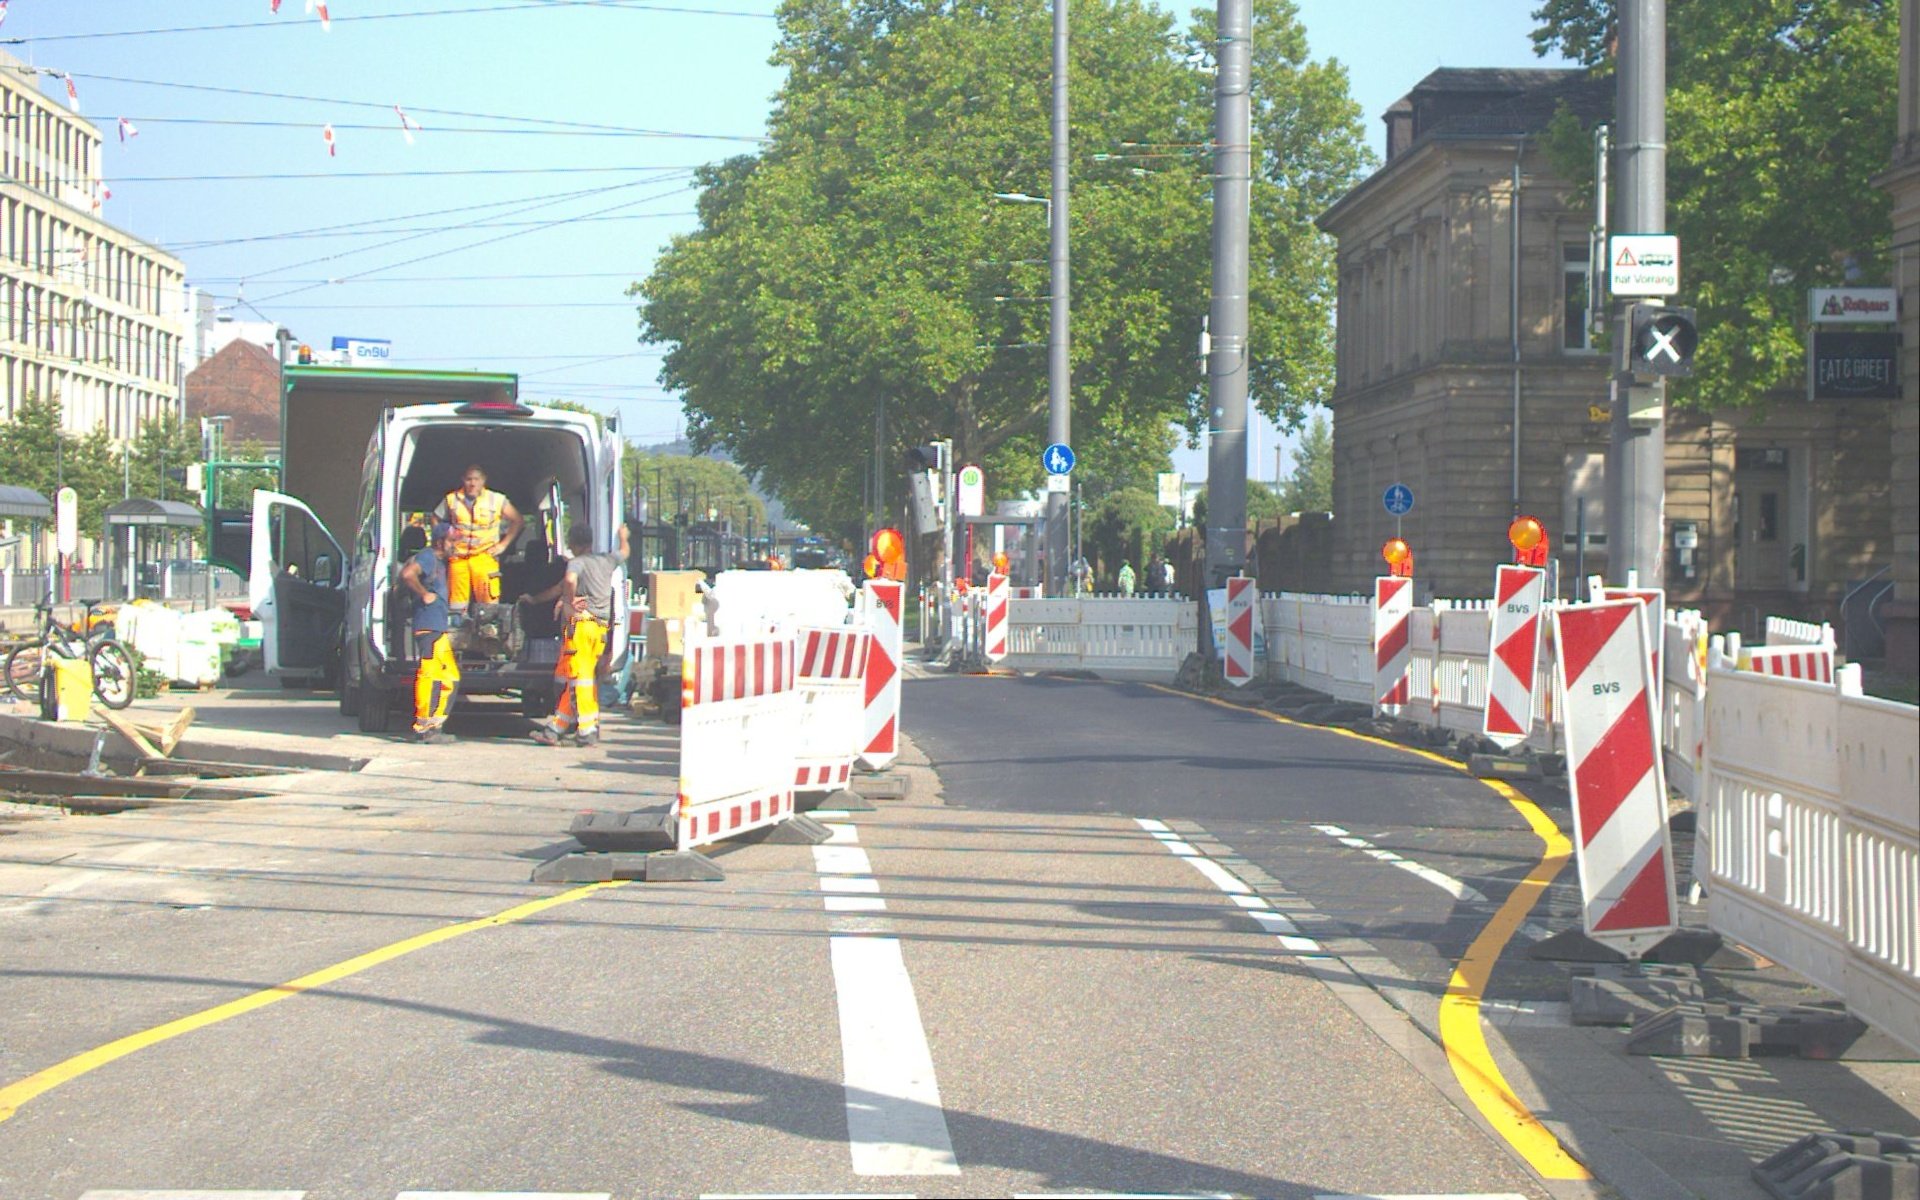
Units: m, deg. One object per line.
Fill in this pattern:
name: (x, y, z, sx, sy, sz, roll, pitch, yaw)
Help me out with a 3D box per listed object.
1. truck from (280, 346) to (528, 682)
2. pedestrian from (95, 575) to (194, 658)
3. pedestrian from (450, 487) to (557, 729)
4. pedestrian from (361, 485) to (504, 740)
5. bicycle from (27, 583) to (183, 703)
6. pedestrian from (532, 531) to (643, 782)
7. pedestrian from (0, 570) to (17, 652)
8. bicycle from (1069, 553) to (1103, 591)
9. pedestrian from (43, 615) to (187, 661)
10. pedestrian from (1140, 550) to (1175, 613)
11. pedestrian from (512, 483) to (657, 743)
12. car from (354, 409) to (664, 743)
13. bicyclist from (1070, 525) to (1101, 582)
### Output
truck: (-6.849, -0.989, 41.750, 2.673, 3.666, 8.216, 0, 1, -11)
pedestrian: (-12.969, 0.253, 54.653, 1.313, 1.302, 0.797, 1, 1, 22)
pedestrian: (-3.849, 0.065, 29.039, 0.734, 2.007, 0.907, 0, 0, 4)
pedestrian: (-4.226, 0.095, 27.569, 0.735, 2.007, 0.906, 0, 0, 30)
bicycle: (-8.315, 0.406, 33.407, 1.660, 1.133, 0.616, 1, 0, 41)
pedestrian: (-3.021, 0.447, 27.966, 0.734, 2.007, 0.907, 0, 0, 5)
pedestrian: (-15.841, 0.177, 55.372, 1.015, 1.302, 0.982, 0, 1, 2)
bicycle: (3.450, -0.773, 94.482, 0.717, 1.038, 1.903, 0, 1, -4)
pedestrian: (-12.609, 0.564, 51.330, 1.902, 0.634, 0.912, 1, 1, 2)
pedestrian: (5.478, -0.511, 95.335, 0.819, 1.680, 1.012, -3, 0, -1)
pedestrian: (-2.949, 0.096, 27.042, 0.735, 2.007, 0.905, 0, 0, 32)
car: (-4.139, -0.205, 30.785, 2.224, 2.720, 5.172, 0, 0, -13)
bicyclist: (3.447, -1.276, 94.471, 0.717, 1.538, 0.956, 0, 1, -4)
